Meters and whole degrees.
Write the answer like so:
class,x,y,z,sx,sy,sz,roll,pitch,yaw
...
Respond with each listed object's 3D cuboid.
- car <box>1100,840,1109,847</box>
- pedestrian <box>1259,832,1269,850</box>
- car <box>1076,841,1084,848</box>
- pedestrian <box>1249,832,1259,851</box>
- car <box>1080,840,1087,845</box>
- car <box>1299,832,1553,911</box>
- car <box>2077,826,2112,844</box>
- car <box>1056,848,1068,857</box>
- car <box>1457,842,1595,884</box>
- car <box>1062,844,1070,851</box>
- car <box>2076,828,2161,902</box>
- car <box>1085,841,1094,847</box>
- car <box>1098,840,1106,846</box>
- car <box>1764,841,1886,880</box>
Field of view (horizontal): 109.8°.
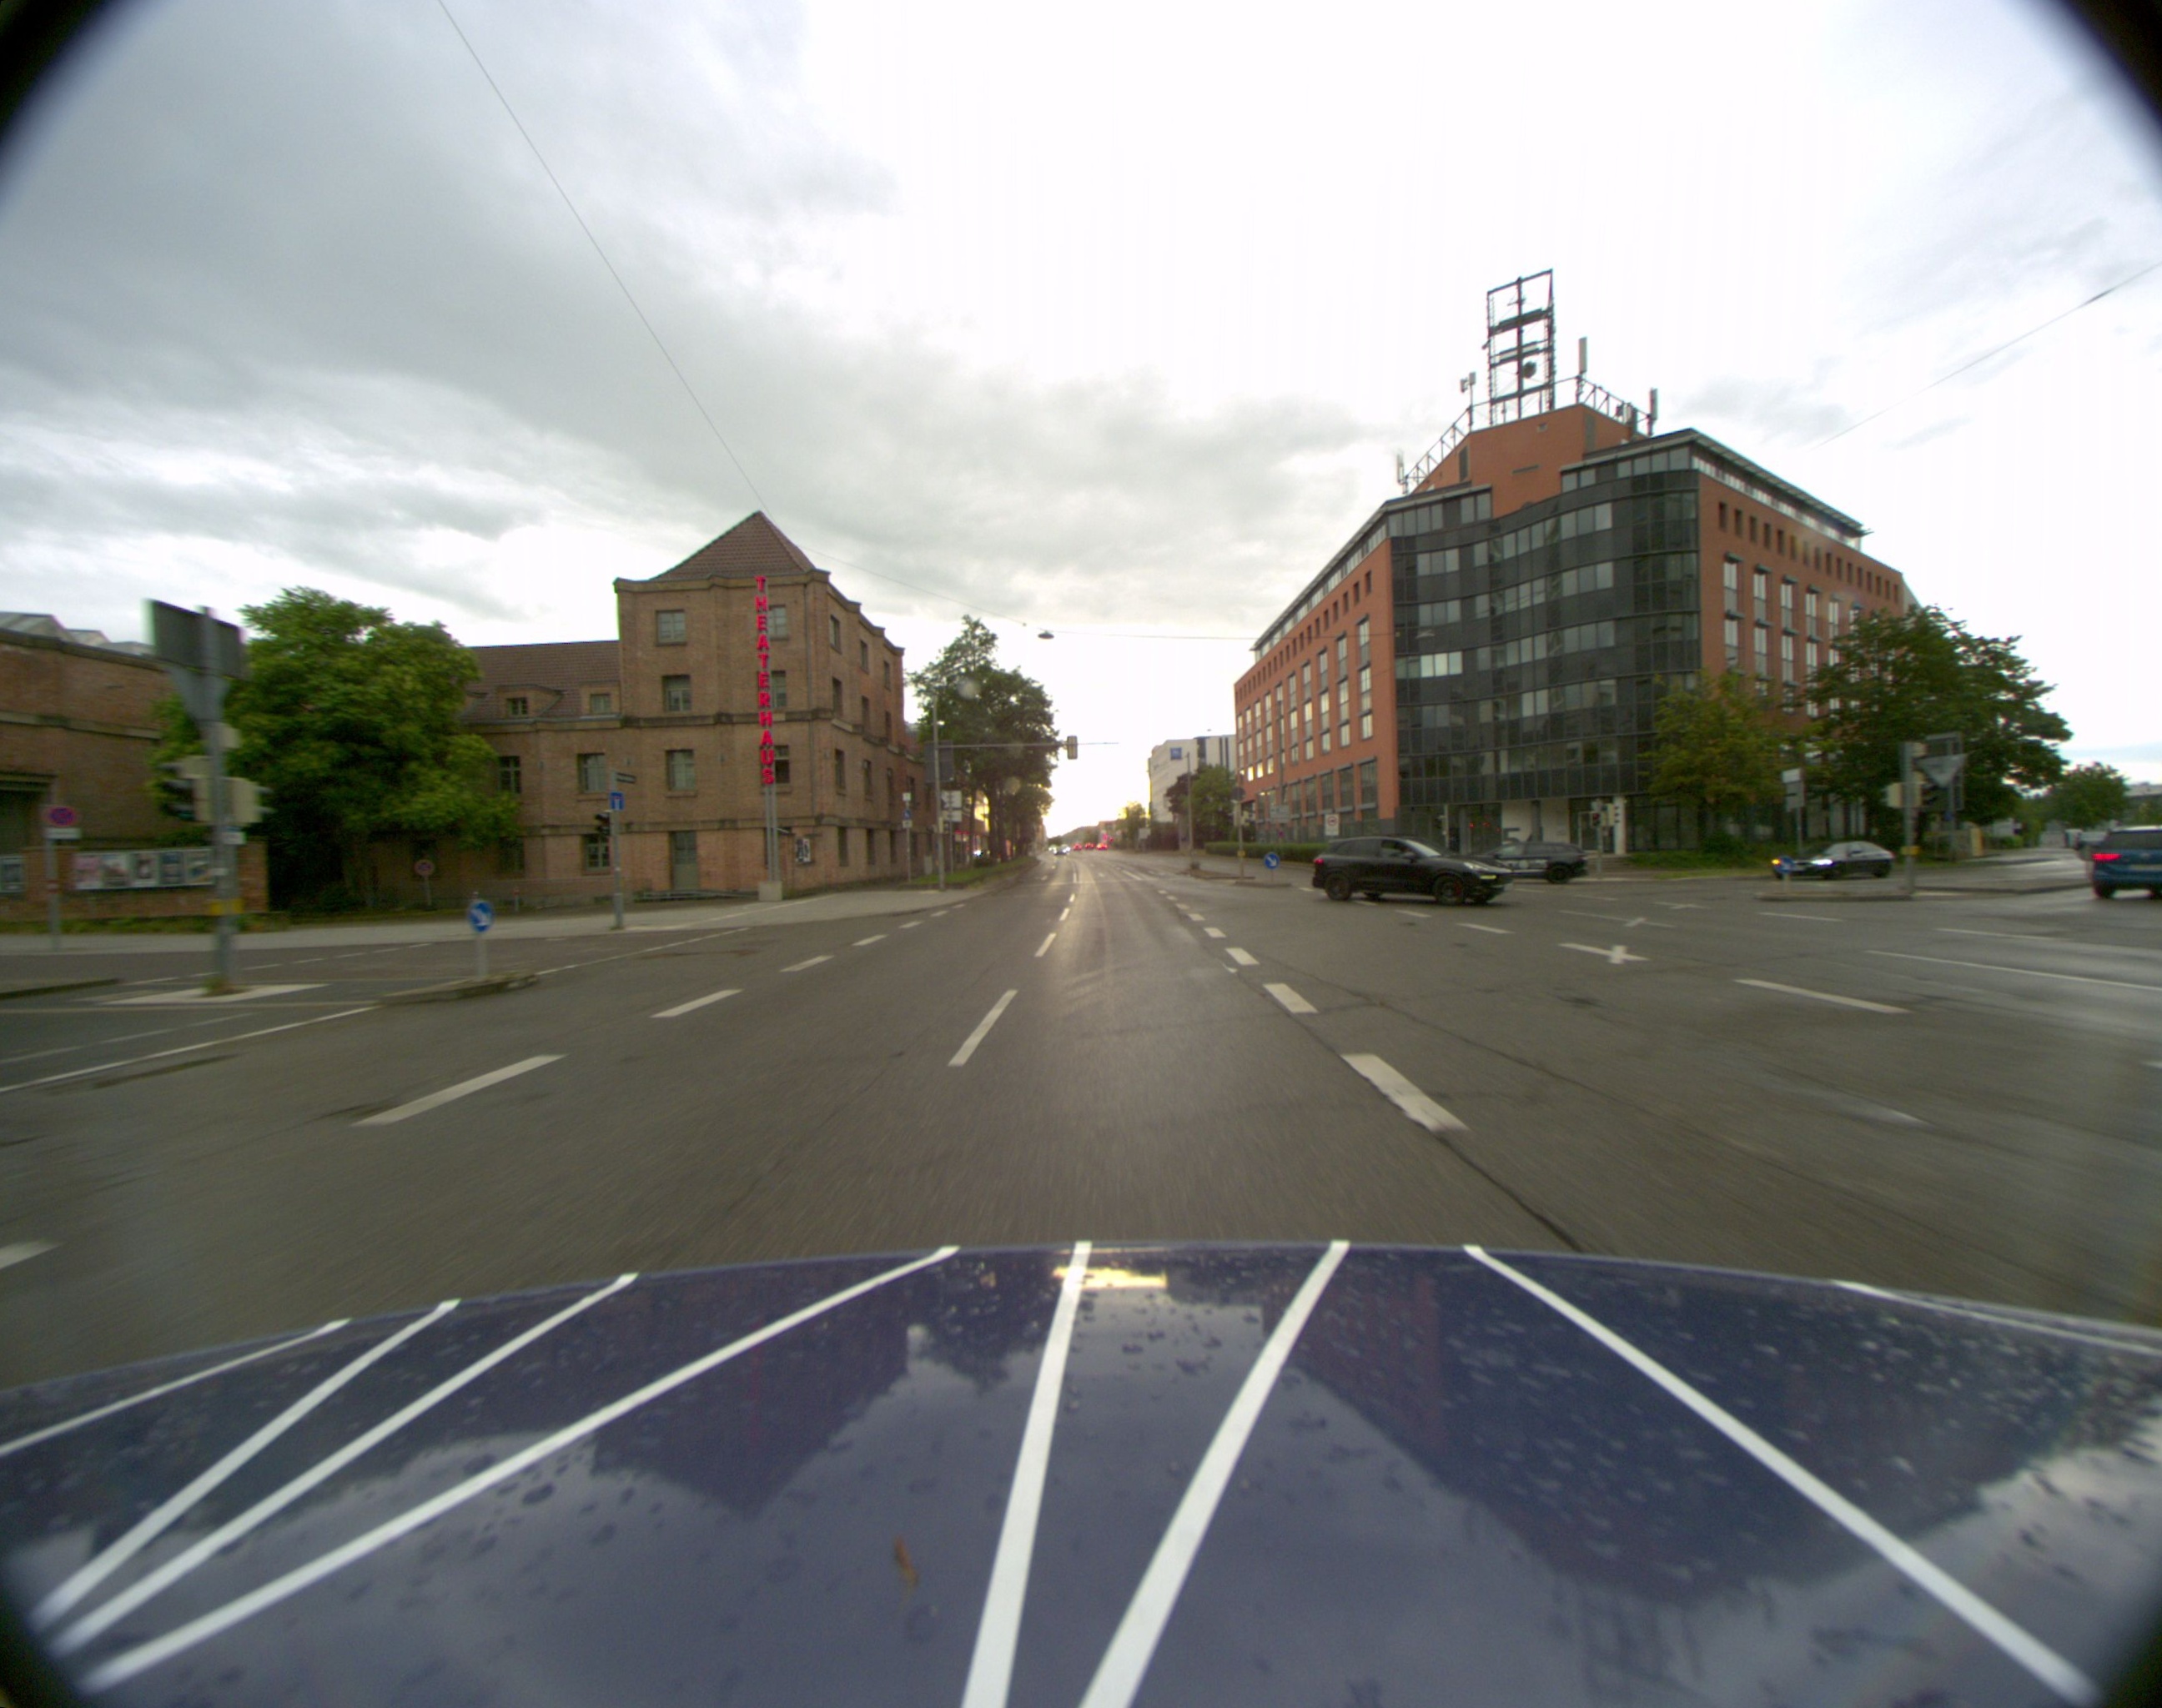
class,x,y,z,sx,sy,sz,roll,pitch,yaw
car,5.725,-2.524,186.087,1.767,1.559,3.998,0,1,-3
pedestrian,18.748,-1.316,77.894,0.747,1.830,0.885,-3,2,-1
car,-0.252,-2.377,186.720,1.999,1.543,3.999,-2,1,-1
pedestrian,17.826,-1.287,78.402,0.747,1.830,0.885,-3,2,-1
car,0.885,-3.560,237.506,1.999,1.543,3.999,-2,1,-1
car,8.327,0.376,18.905,2.003,1.656,5.410,-3,1,-38
car,89.244,-1.668,66.891,4.007,1.501,1.795,-1,1,-36
car,-3.093,-0.267,123.541,1.799,1.501,3.999,-1,0,-1
car,16.767,0.340,28.921,4.362,1.501,1.860,-1,0,24
car,-3.235,-1.400,164.768,1.799,1.501,3.999,-1,0,-1
car,25.015,0.196,17.332,4.202,1.587,1.774,-1,1,-22
car,2.152,-2.521,194.275,1.999,1.543,3.999,-2,1,-1
car,5.551,-2.830,203.016,1.767,1.559,3.998,0,1,-2
car,28.483,0.225,29.098,4.004,1.355,1.849,-1,1,-21
